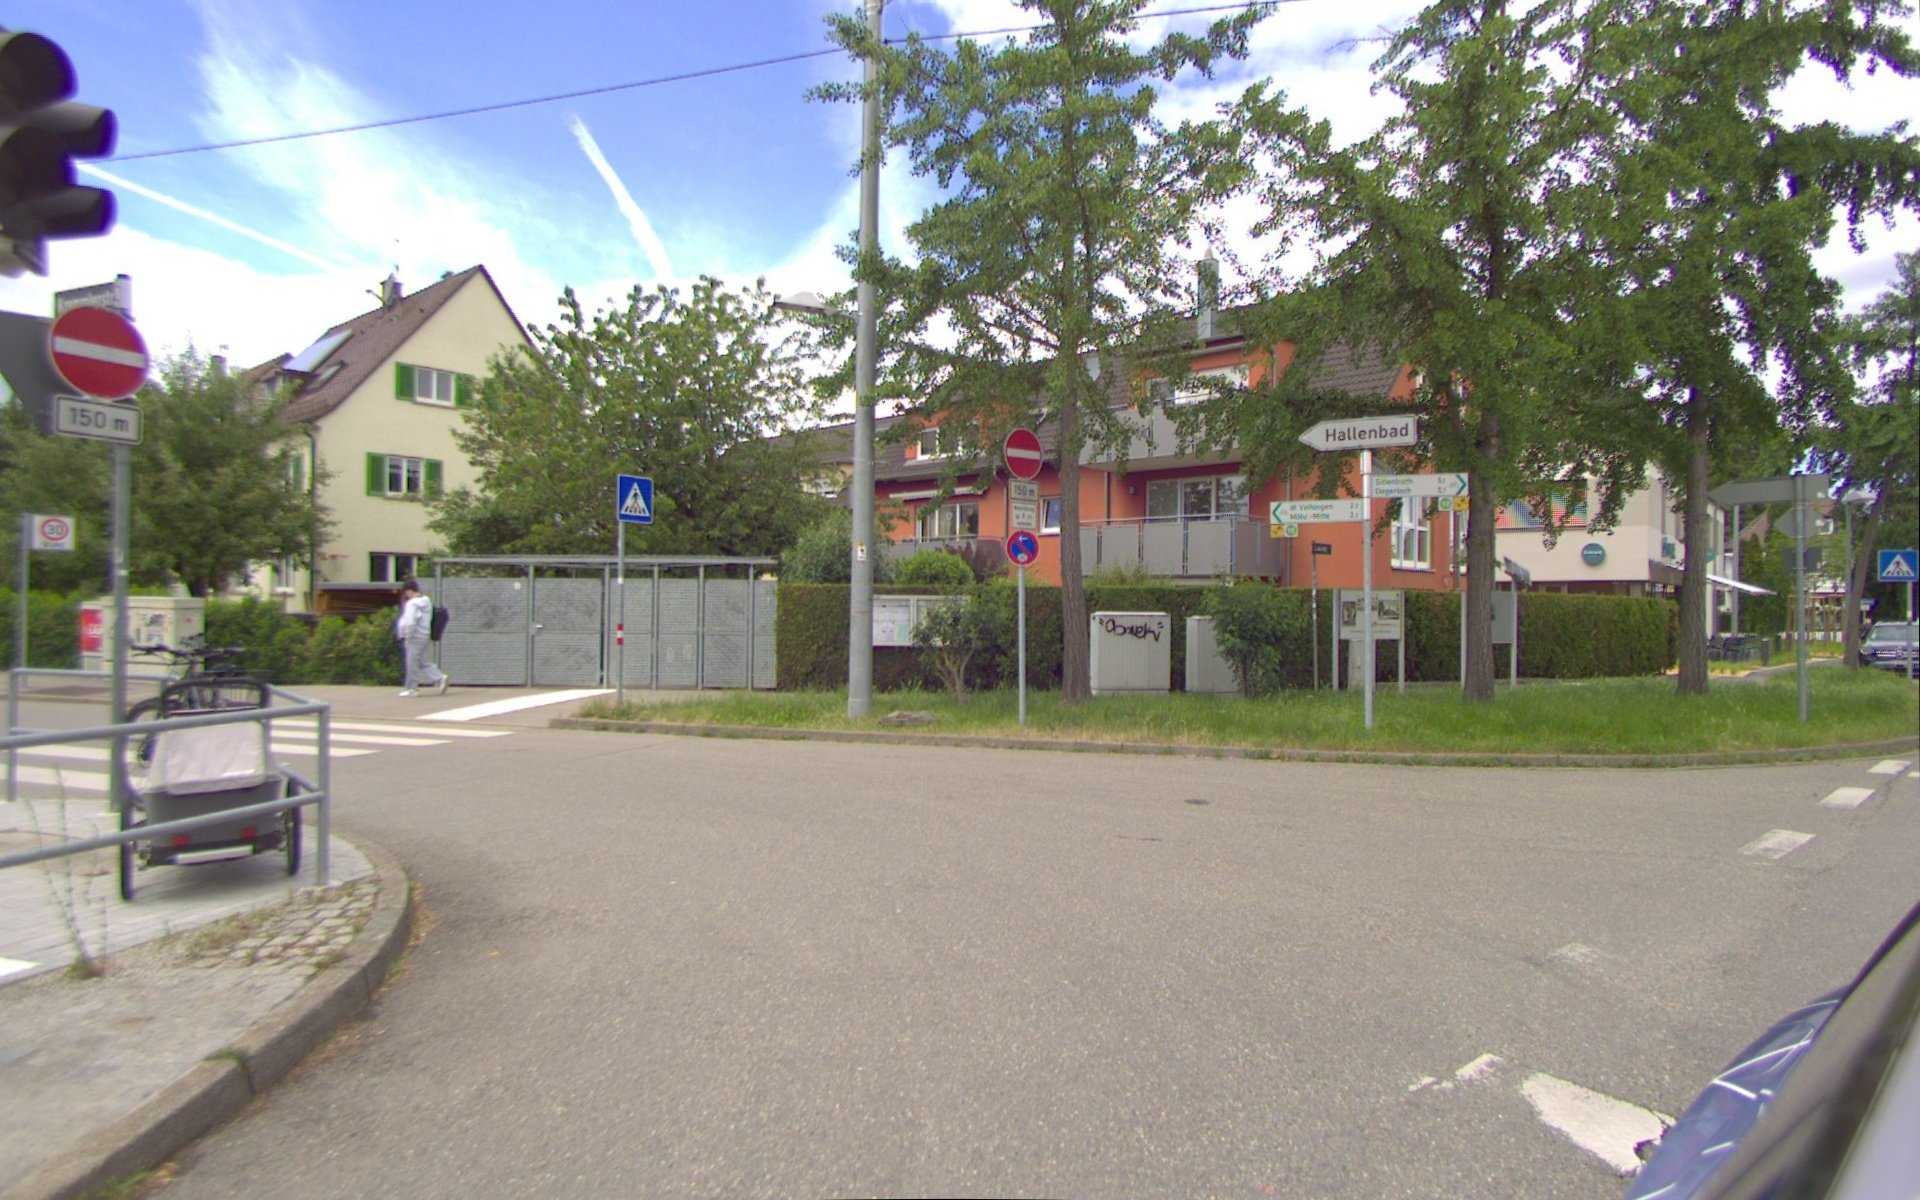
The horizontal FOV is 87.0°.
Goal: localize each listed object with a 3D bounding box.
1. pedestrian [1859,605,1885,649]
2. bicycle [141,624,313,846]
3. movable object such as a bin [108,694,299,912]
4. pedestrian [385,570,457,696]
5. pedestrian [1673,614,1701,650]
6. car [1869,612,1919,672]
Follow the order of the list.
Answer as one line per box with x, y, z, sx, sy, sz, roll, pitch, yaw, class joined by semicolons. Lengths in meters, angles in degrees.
35.825;1.052;39.737;0.648;1.690;0.677;1;0;-43;pedestrian
-4.577;0.756;6.278;1.684;1.170;0.460;0;0;40;bicycle
-3.750;0.939;4.996;1.090;0.835;0.570;0;0;43;movable object such as a bin
-8.486;0.502;15.954;0.814;1.939;0.626;1;0;-7;pedestrian
26.115;1.155;36.332;0.750;1.254;0.681;0;-1;42;pedestrian
28.116;1.186;29.740;1.847;1.657;4.393;-1;-1;45;car
